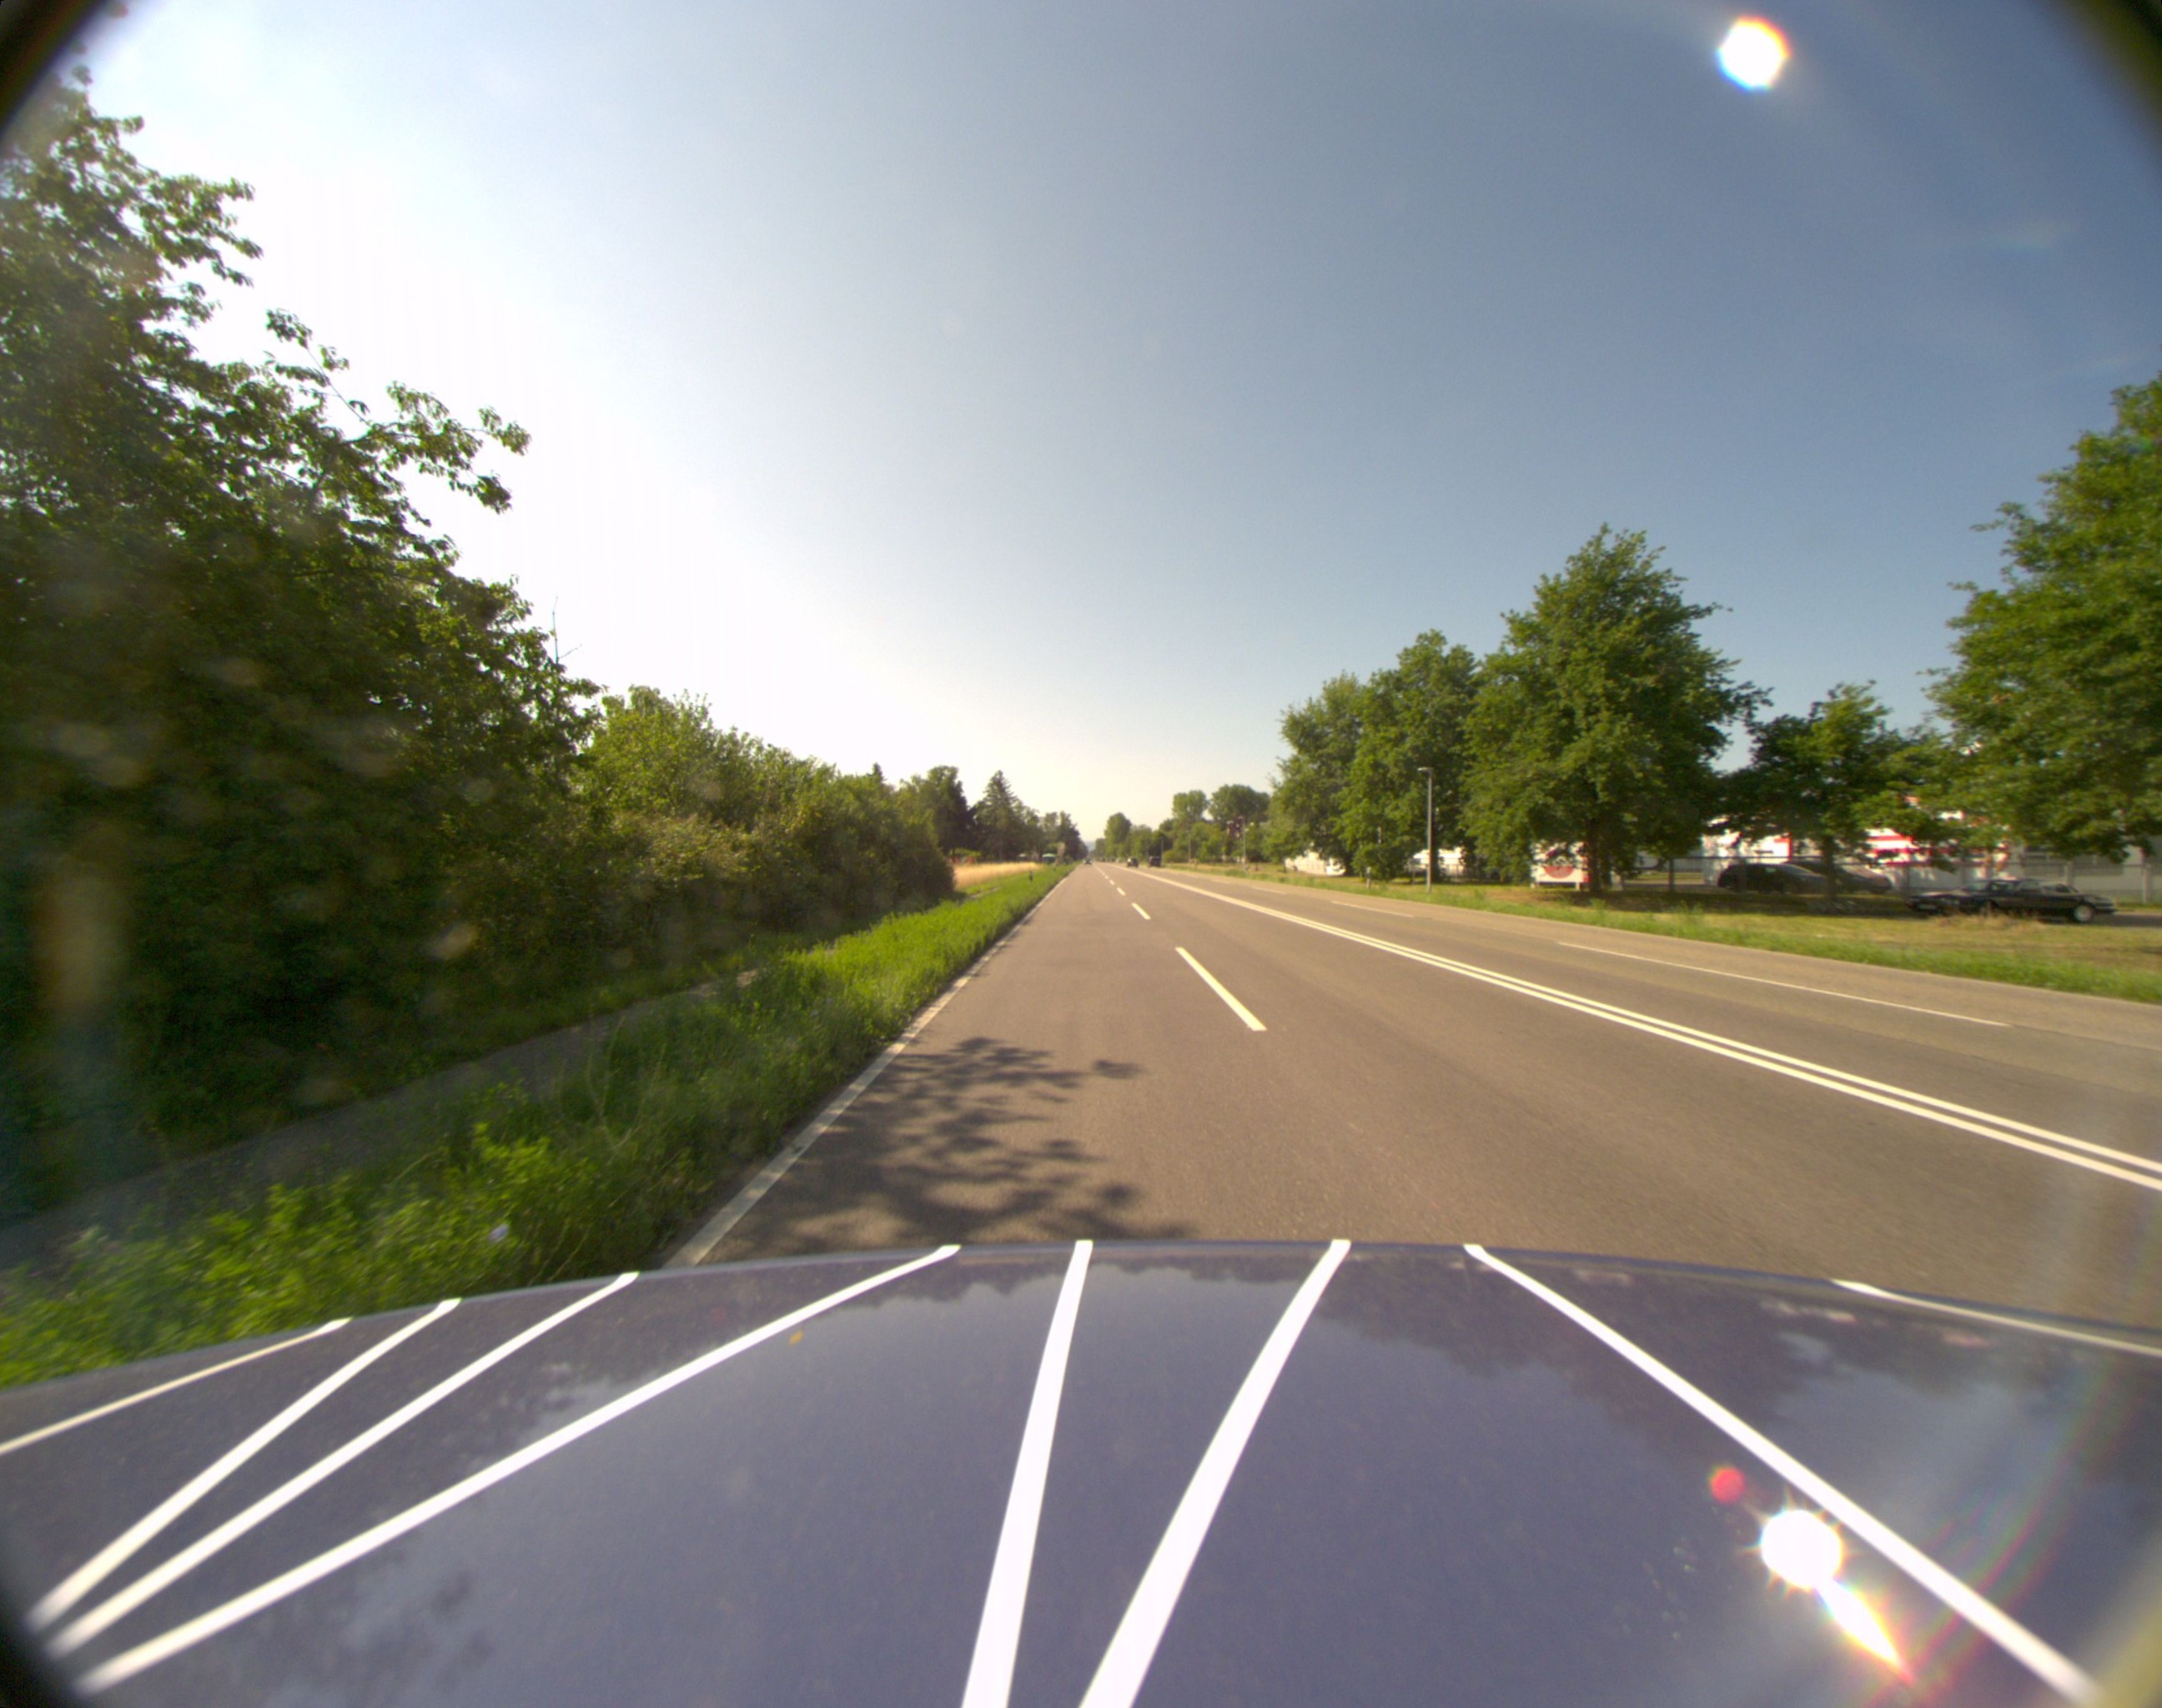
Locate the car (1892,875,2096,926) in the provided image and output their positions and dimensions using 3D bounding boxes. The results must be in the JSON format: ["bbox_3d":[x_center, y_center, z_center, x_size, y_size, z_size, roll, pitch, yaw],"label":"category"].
[{"bbox_3d":[29.864,1.491,24.956,4.361,1.318,1.857,3,1,0],"label":"car"}]

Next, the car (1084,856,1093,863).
[{"bbox_3d":[1.692,1.263,167.954,1.768,1.403,4.001,0,-1,1],"label":"car"}]

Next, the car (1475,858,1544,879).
[{"bbox_3d":[31.142,1.037,55.290,3.997,1.492,1.757,0,0,0],"label":"car"}]

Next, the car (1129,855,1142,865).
[{"bbox_3d":[7.993,0.841,111.494,1.520,1.442,3.775,1,0,0],"label":"car"}]

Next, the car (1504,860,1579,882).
[{"bbox_3d":[31.014,1.139,51.198,3.997,1.492,1.757,0,0,0],"label":"car"}]

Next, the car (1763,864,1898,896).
[{"bbox_3d":[35.855,1.214,36.545,1.792,1.341,4.662,1,0,-2],"label":"car"}]

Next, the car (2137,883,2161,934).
[{"bbox_3d":[29.614,1.448,18.895,3.996,1.298,1.863,1,0,1],"label":"car"}]

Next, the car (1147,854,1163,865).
[{"bbox_3d":[11.052,0.788,113.826,1.830,1.662,4.389,1,0,-1],"label":"car"}]

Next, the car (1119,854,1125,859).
[{"bbox_3d":[12.079,0.826,224.748,1.663,1.429,3.735,1,0,0],"label":"car"}]

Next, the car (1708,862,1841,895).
[{"bbox_3d":[31.895,1.075,35.187,1.792,1.341,4.662,1,0,-2],"label":"car"}]
